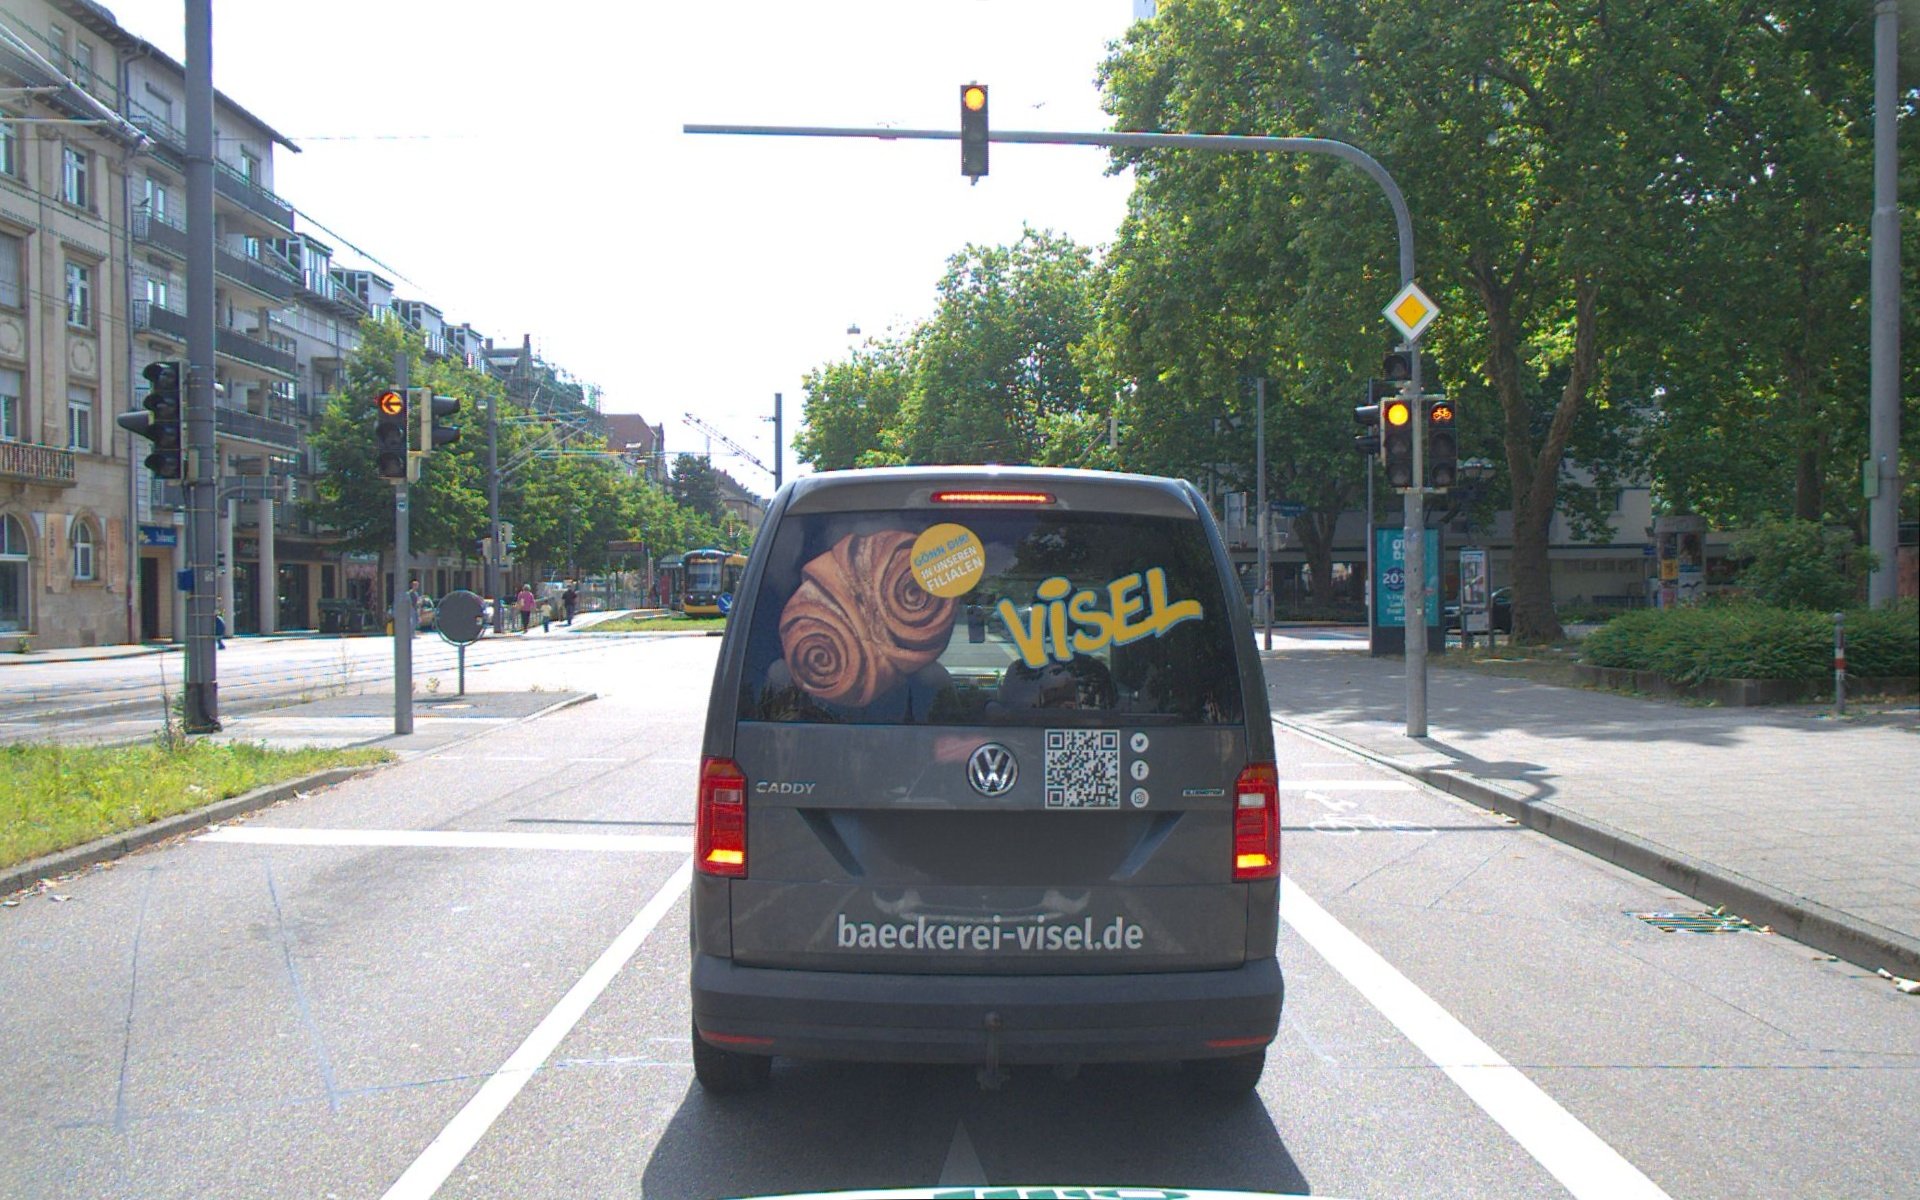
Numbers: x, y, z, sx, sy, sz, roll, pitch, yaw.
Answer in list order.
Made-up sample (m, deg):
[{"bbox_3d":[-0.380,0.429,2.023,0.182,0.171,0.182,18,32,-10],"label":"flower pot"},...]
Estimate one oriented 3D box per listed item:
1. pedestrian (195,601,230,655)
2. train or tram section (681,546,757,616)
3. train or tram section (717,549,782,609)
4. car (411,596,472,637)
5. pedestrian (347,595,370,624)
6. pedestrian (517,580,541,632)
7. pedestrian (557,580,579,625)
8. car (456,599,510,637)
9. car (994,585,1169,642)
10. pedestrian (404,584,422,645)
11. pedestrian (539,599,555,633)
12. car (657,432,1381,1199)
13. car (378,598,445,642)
[{"bbox_3d":[-22.819,0.852,50.509,0.852,1.623,0.686,-1,0,-34],"label":"pedestrian"},{"bbox_3d":[-12.596,-1.000,87.525,2.195,3.389,12.970,-1,1,0],"label":"train or tram section"},{"bbox_3d":[-12.695,-1.255,100.954,2.195,3.389,14.012,-1,1,0],"label":"train or tram section"},{"bbox_3d":[-26.894,0.833,85.922,1.953,2.049,3.999,-1,0,-1],"label":"car"},{"bbox_3d":[-25.989,0.413,71.493,0.738,1.233,0.704,-1,0,-1],"label":"pedestrian"},{"bbox_3d":[-15.172,0.193,58.191,0.646,1.815,0.660,-1,0,-1],"label":"pedestrian"},{"bbox_3d":[-15.127,0.082,63.825,0.646,1.714,0.655,-1,0,-1],"label":"pedestrian"},{"bbox_3d":[-27.184,0.985,94.426,1.953,2.049,3.999,-1,0,-1],"label":"car"},{"bbox_3d":[3.279,0.337,44.464,4.423,1.414,1.693,-1,0,-25],"label":"car"},{"bbox_3d":[-18.431,0.480,55.726,0.468,2.049,0.419,-1,0,-6],"label":"pedestrian"},{"bbox_3d":[-14.515,0.560,58.158,0.454,1.164,0.435,-1,0,-1],"label":"pedestrian"},{"bbox_3d":[0.130,0.512,5.687,1.715,1.840,3.474,1,0,-1],"label":"car"},{"bbox_3d":[-26.905,0.959,81.235,1.953,2.049,3.999,-1,0,-1],"label":"car"}]
